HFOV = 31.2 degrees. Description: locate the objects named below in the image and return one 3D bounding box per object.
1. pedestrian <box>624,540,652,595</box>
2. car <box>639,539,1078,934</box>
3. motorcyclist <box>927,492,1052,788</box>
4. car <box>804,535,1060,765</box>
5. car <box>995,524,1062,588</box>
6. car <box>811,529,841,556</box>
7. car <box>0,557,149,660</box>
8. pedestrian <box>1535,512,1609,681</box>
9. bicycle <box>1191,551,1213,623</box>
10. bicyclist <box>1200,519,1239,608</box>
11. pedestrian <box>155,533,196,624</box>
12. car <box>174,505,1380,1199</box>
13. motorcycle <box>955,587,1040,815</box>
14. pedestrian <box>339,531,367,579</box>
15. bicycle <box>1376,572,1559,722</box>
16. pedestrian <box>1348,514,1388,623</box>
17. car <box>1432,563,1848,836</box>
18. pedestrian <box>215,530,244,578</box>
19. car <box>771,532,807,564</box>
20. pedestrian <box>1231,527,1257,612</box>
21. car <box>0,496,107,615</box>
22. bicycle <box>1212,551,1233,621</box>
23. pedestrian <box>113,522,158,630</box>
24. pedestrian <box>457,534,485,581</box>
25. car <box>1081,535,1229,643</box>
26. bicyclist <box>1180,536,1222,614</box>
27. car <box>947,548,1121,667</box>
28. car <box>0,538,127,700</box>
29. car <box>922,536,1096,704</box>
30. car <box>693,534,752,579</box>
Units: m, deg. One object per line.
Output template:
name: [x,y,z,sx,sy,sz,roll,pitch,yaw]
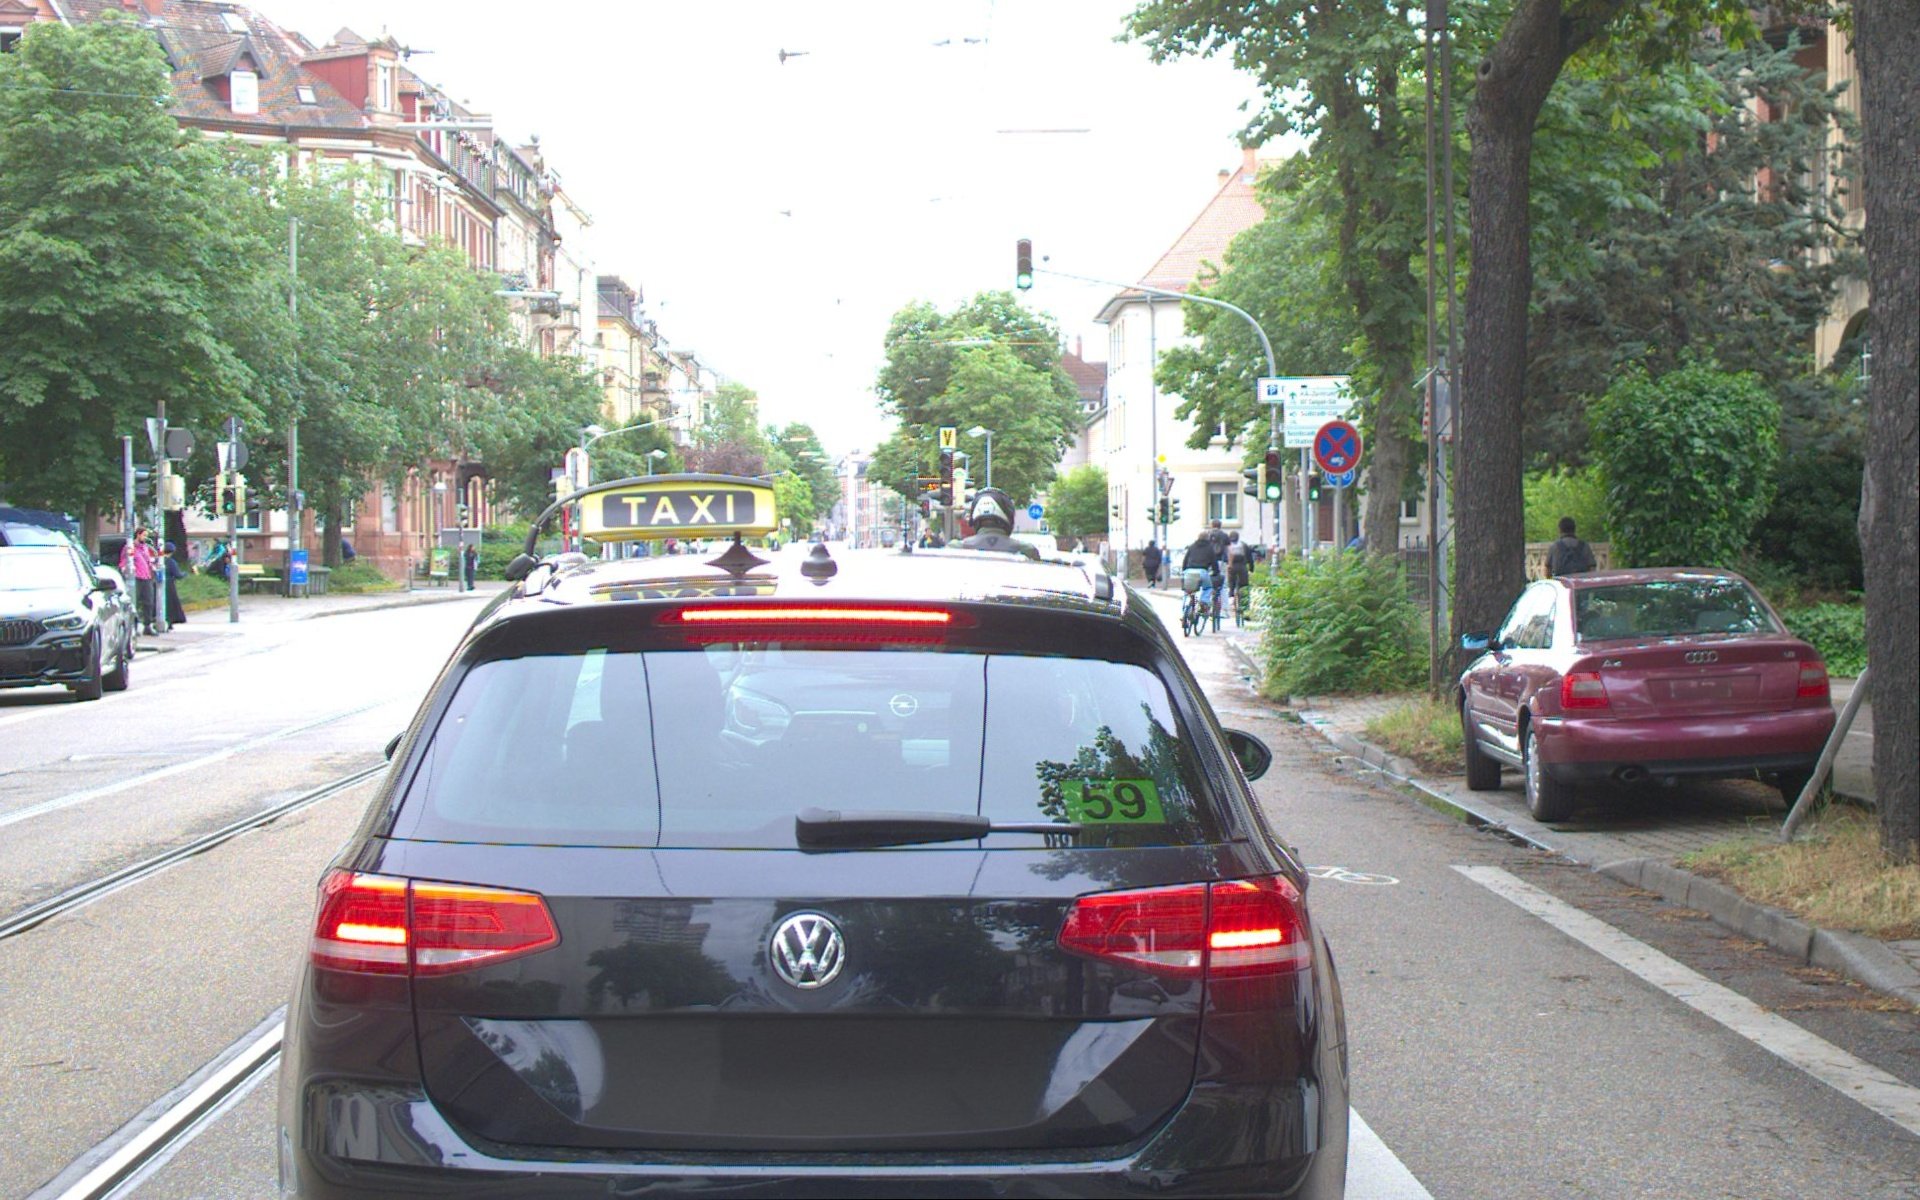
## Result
pedestrian: [-8.931,-0.894,95.412,0.714,1.515,0.590,0,1,1]
car: [-0.421,0.503,15.525,1.723,1.541,4.000,0,1,-1]
motorcyclist: [0.165,0.221,20.075,0.703,1.686,0.804,-1,1,-1]
car: [-0.209,0.302,25.205,1.723,1.541,4.000,0,1,-1]
car: [2.201,-1.421,112.025,2.033,2.007,4.000,1,0,-1]
car: [-8.205,-3.507,210.410,1.721,1.617,3.864,-1,1,-1]
car: [-13.012,0.093,49.954,1.648,1.357,4.130,2,1,-3]
pedestrian: [6.618,-0.046,37.182,0.632,1.808,0.726,0,1,-3]
bicycle: [4.079,-0.228,58.016,0.252,1.192,1.156,0,1,9]
bicyclist: [4.623,-0.647,61.151,0.651,1.563,0.695,0,1,6]
pedestrian: [-14.370,-0.403,62.973,0.589,1.657,0.839,0,1,-4]
car: [-0.285,0.597,6.929,1.723,1.541,4.000,0,1,-1]
motorcycle: [0.208,0.560,20.081,0.446,1.231,1.907,-1,1,-1]
pedestrian: [-19.461,-1.437,110.245,0.589,1.515,0.647,0,1,35]
bicycle: [4.182,0.377,28.248,0.433,1.194,1.899,1,0,45]
pedestrian: [6.956,-0.545,58.590,0.514,1.824,0.417,-3,1,16]
car: [4.008,0.521,20.891,1.602,1.394,4.227,-2,1,-1]
pedestrian: [-23.273,-1.456,109.543,0.589,1.515,0.647,0,1,35]
car: [-8.868,-2.679,178.056,1.721,1.617,3.864,-1,1,-1]
pedestrian: [5.279,-0.570,63.803,0.450,1.556,0.479,0,1,7]
car: [-20.256,-0.940,72.256,2.180,2.409,5.377,-1,1,-43]
bicycle: [4.667,-0.261,61.085,0.297,1.219,1.430,0,1,7]
pedestrian: [-14.094,-0.419,58.795,0.623,1.836,0.610,0,1,-3]
pedestrian: [-15.925,-1.382,111.996,0.589,1.515,0.647,0,1,35]
car: [2.959,-0.181,52.869,1.993,1.572,4.000,1,0,-1]
bicyclist: [4.068,-0.427,58.036,0.651,1.297,0.695,0,1,7]
car: [0.989,0.061,43.570,1.892,1.403,3.999,-1,1,6]
car: [-10.243,0.182,37.329,1.882,1.606,4.889,-3,1,-9]
car: [0.437,0.170,34.038,1.606,1.550,3.578,1,0,-1]
car: [-9.554,-1.751,138.656,1.993,1.784,4.000,1,0,1]
